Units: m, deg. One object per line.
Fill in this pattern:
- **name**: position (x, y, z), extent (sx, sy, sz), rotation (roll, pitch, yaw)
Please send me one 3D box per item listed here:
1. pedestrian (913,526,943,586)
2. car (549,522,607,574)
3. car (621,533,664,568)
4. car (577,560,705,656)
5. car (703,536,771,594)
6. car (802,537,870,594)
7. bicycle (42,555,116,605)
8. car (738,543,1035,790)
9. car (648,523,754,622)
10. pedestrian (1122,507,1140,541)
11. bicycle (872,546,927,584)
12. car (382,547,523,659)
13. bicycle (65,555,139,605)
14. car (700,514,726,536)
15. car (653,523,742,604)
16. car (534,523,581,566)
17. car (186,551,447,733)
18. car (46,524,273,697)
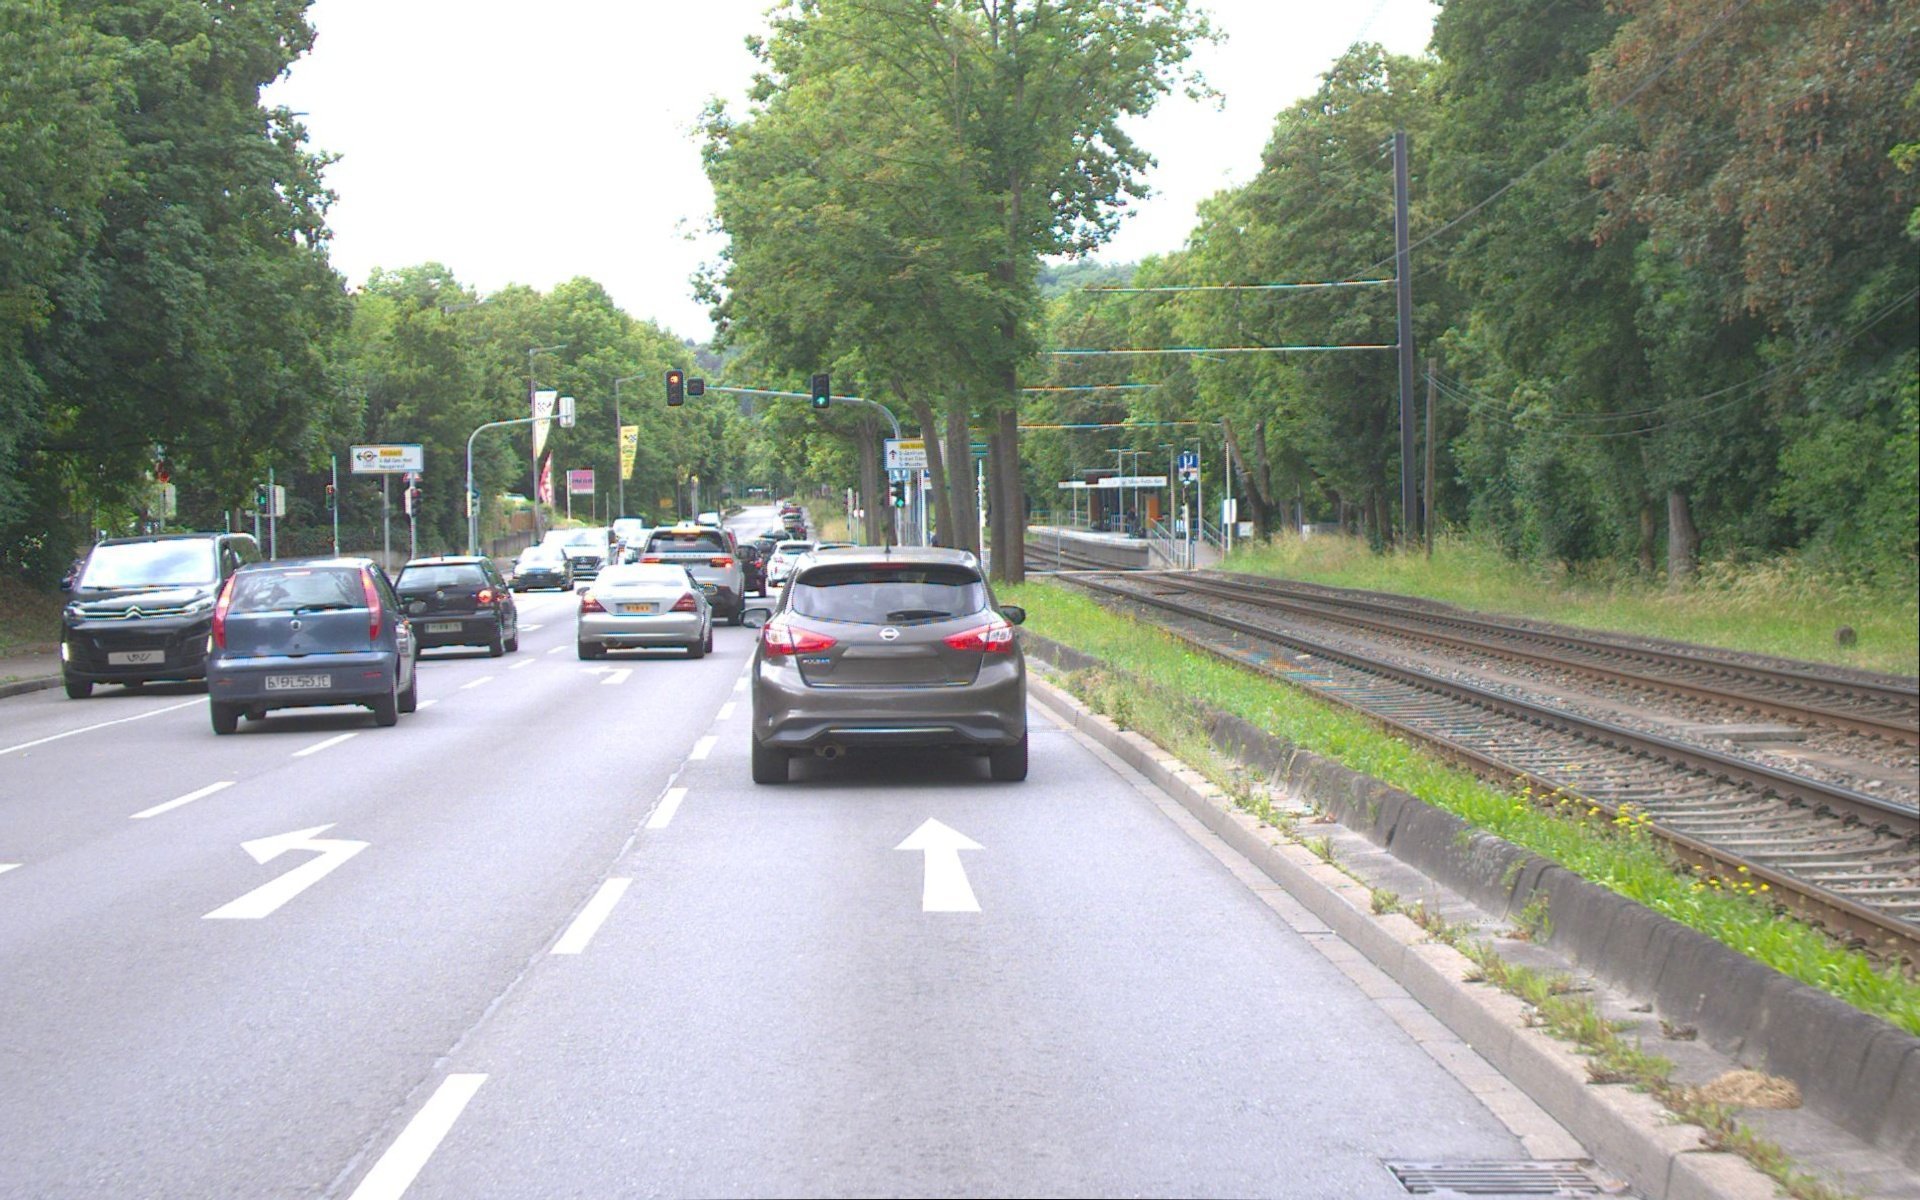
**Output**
- **pedestrian**: position (-0.953, -1.313, 102.879), extent (0.752, 1.731, 0.839), rotation (-3, 1, 2)
- **car**: position (-13.914, -1.911, 125.497), extent (1.791, 1.825, 4.410), rotation (-2, 1, -3)
- **car**: position (-14.179, -2.196, 153.491), extent (1.739, 1.533, 3.910), rotation (0, 1, -3)
- **car**: position (-4.360, 0.083, 47.391), extent (1.555, 1.262, 3.823), rotation (-1, 1, -2)
- **car**: position (-5.902, -0.941, 91.380), extent (1.703, 1.475, 3.668), rotation (-1, 1, -2)
- **car**: position (-3.260, -0.926, 91.065), extent (1.710, 1.470, 3.671), rotation (0, 1, -1)
- **bicycle**: position (-22.422, -0.512, 87.509), extent (0.545, 1.248, 1.931), rotation (1, 1, 35)
- **car**: position (-0.478, 0.378, 23.267), extent (1.837, 1.523, 3.929), rotation (0, 1, -1)
- **car**: position (-4.843, -0.515, 64.644), extent (1.803, 1.789, 4.504), rotation (0, 1, -2)
- **pedestrian**: position (7.637, -3.390, 153.376), extent (0.718, 1.506, 0.724), rotation (1, 0, 0)
- **bicycle**: position (-1.957, -1.127, 110.667), extent (1.674, 1.086, 0.602), rotation (-4, 1, -6)
- **car**: position (-7.318, 0.013, 49.828), extent (1.556, 1.461, 3.808), rotation (-3, 1, -2)
- **bicycle**: position (-21.772, -0.501, 87.236), extent (0.545, 1.248, 1.931), rotation (1, 1, 35)
- **car**: position (-18.754, -5.678, 260.442), extent (1.901, 1.673, 5.081), rotation (-1, 1, -5)
- **car**: position (-6.201, -0.889, 81.625), extent (1.907, 1.837, 5.282), rotation (-1, 1, -2)
- **car**: position (-17.012, -2.341, 145.165), extent (1.943, 1.805, 4.445), rotation (0, 1, -7)
- **car**: position (-5.716, 0.323, 30.930), extent (1.591, 1.463, 3.929), rotation (-2, 1, -1)
- **car**: position (-9.613, 0.089, 41.602), extent (1.803, 1.897, 4.690), rotation (-2, 1, -3)
